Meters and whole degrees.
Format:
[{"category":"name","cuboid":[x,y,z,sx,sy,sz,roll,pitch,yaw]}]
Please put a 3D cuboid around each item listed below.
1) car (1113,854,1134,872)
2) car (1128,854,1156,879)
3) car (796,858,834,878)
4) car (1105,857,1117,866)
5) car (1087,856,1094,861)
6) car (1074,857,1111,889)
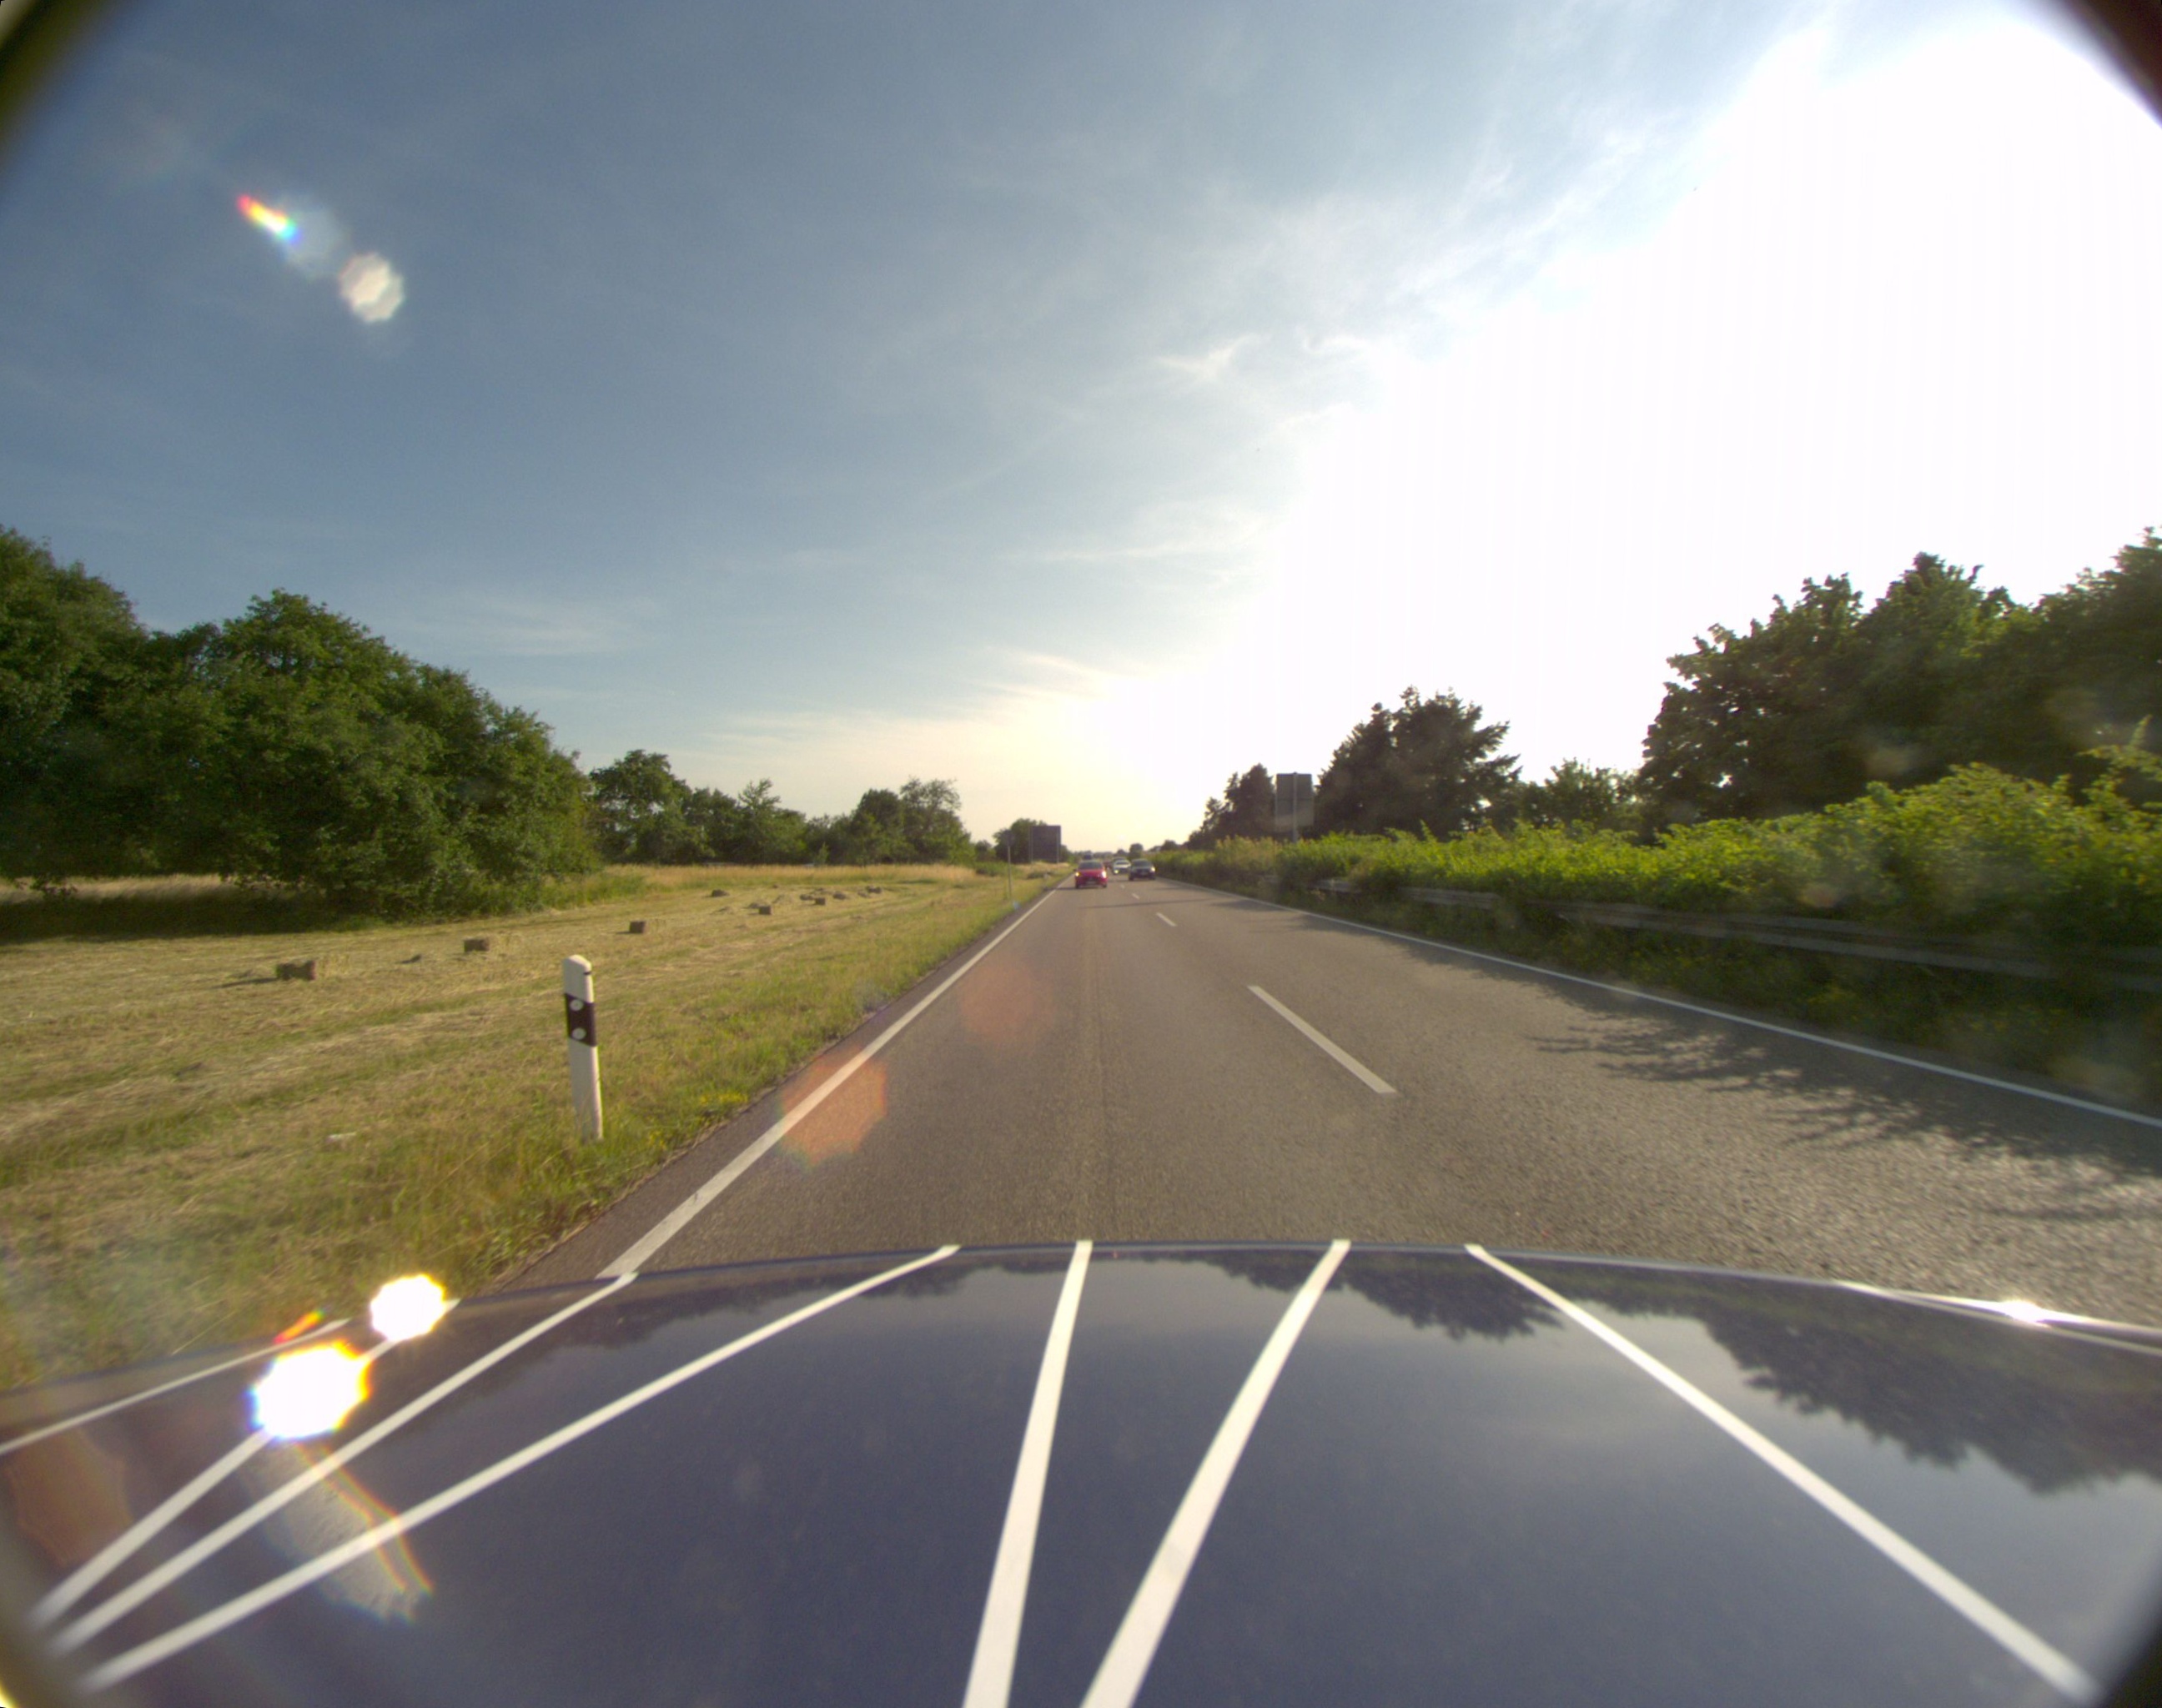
[{"category":"car","cuboid":[4.384,0.877,78.190,1.998,1.762,4.000,-2,0,2]},{"category":"car","cuboid":[4.296,0.845,53.752,1.693,1.695,4.000,-2,0,1]},{"category":"car","cuboid":[-24.578,1.256,70.289,1.998,1.739,4.000,-2,0,0]},{"category":"car","cuboid":[5.319,1.364,135.910,1.998,1.412,4.001,-2,0,2]},{"category":"car","cuboid":[2.735,1.186,213.835,1.998,1.412,4.001,-2,0,2]},{"category":"car","cuboid":[0.630,0.957,40.140,1.821,1.565,4.001,-2,0,2]}]
